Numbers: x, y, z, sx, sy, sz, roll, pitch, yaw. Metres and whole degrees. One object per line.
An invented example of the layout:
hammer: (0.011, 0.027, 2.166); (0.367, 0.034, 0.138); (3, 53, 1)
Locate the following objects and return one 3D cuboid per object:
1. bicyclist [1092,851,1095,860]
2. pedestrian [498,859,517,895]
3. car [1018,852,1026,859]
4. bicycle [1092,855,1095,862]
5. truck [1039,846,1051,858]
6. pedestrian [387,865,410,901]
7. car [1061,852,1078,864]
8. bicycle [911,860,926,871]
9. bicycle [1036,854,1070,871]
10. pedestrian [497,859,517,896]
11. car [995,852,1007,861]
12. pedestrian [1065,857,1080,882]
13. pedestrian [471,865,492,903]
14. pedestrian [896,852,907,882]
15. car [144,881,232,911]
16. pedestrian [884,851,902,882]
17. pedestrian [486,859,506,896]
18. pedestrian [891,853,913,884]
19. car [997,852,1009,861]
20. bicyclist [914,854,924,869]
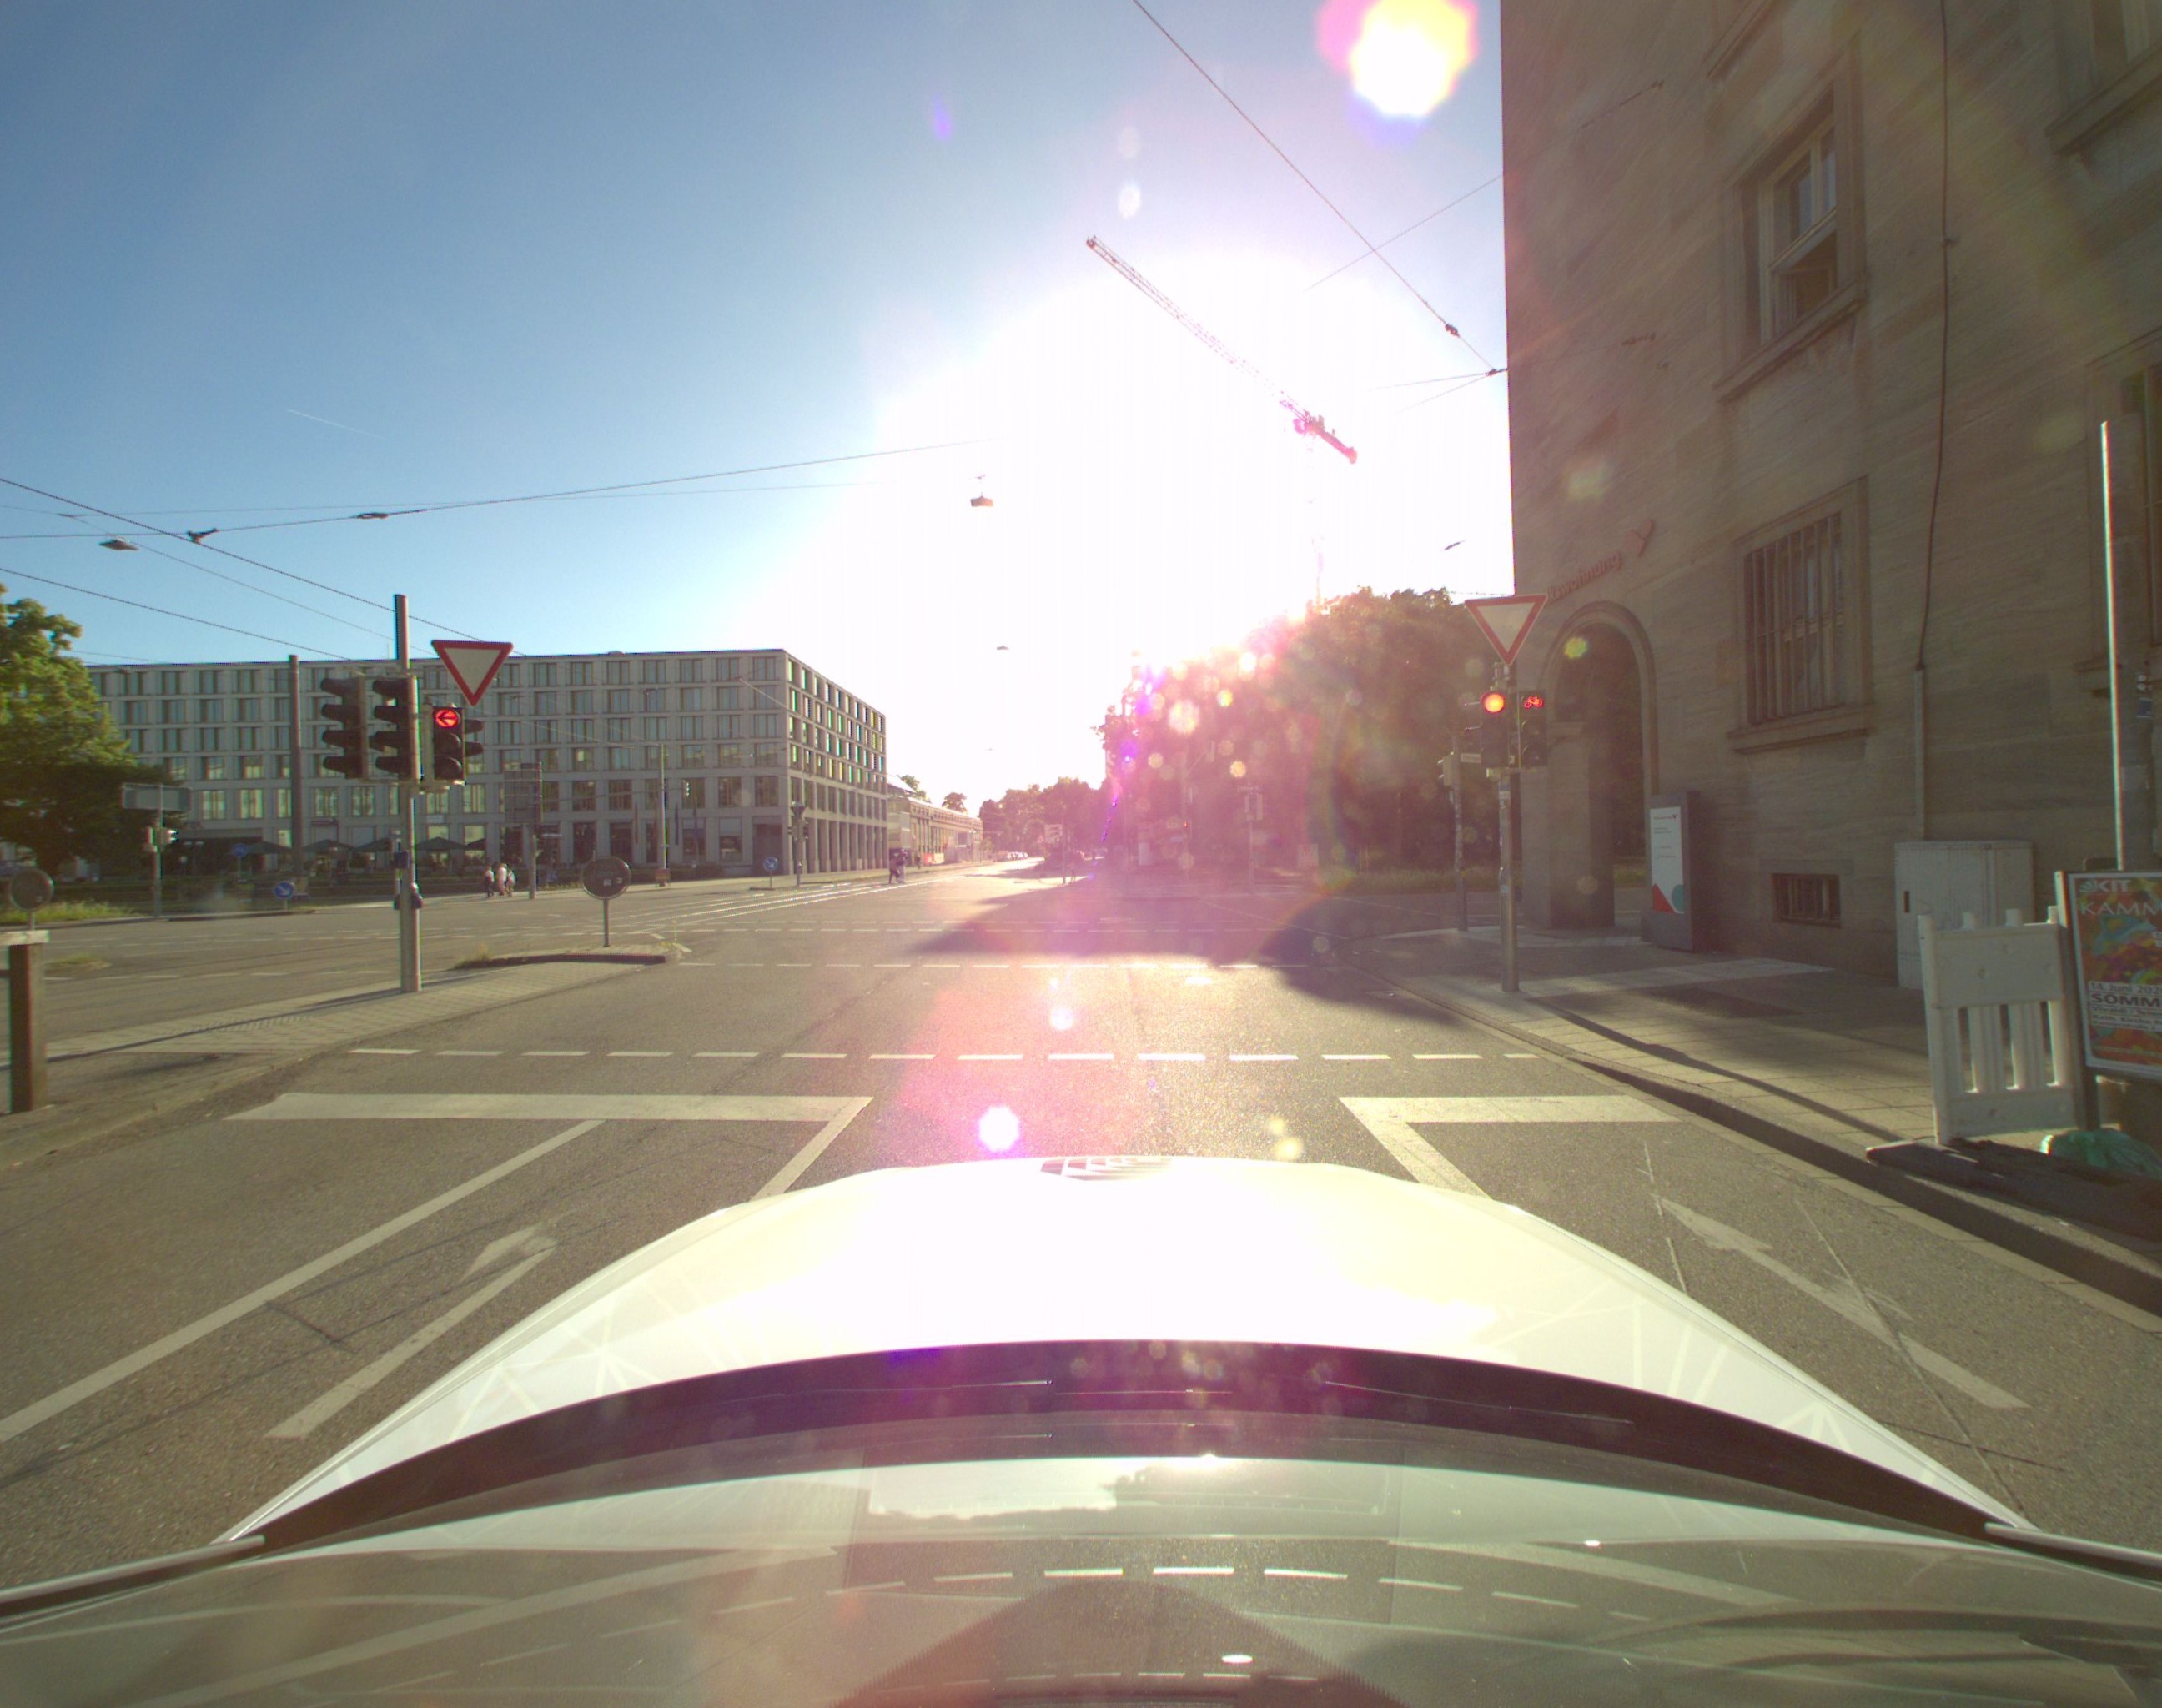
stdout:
bicyclist: (1.548, 0.144, 101.625); (0.317, 1.127, 0.291); (-2, 0, 1)
pedestrian: (-32.883, 1.289, 46.675); (0.528, 2.013, 0.800); (-2, 0, -5)
car: (-14.041, 0.327, 195.115); (1.478, 1.750, 4.002); (-2, 0, 2)
bicycle: (1.563, 0.547, 101.537); (0.323, 0.868, 1.484); (-2, 0, 2)
truck: (-6.681, -0.393, 150.856); (1.908, 2.092, 4.002); (-2, 0, 2)
pedestrian: (-36.978, 1.556, 44.124); (0.557, 1.903, 0.684); (-2, 0, 10)
car: (-1.297, 0.434, 92.173); (1.814, 1.279, 3.999); (-2, 0, 0)
bicycle: (-18.439, 1.303, 92.411); (0.872, 1.121, 3.015); (-2, 0, 3)
bicycle: (-2.326, 0.726, 67.366); (2.728, 1.367, 0.633); (-1, -1, 12)
pedestrian: (-31.739, 1.300, 45.060); (0.528, 2.013, 0.800); (-2, 0, -5)
car: (-15.312, 0.486, 156.445); (1.724, 1.653, 4.002); (-2, 0, 2)
pedestrian: (-0.465, 0.848, 44.696); (0.749, 1.332, 0.743); (-2, 0, 3)
pedestrian: (-32.308, 1.626, 43.921); (0.528, 2.013, 0.800); (-2, 0, -5)
pedestrian: (-9.971, 0.709, 45.210); (0.440, 1.662, 0.376); (-2, 0, 1)
car: (-46.937, 2.181, 42.819); (3.169, 1.438, 1.474); (-2, 0, 5)
pedestrian: (-10.213, 0.679, 44.272); (0.792, 1.639, 0.534); (-2, 0, 4)
pedestrian: (-32.564, 1.311, 45.357); (0.528, 2.013, 0.800); (-2, 0, -5)
pedestrian: (-9.519, 0.758, 43.314); (0.980, 1.587, 0.661); (-2, -1, 3)
car: (-15.347, 0.452, 160.669); (1.724, 1.653, 4.002); (-2, 0, 2)
bicyclist: (-18.436, 0.844, 92.466); (0.872, 1.641, 0.822); (-2, 0, 3)
